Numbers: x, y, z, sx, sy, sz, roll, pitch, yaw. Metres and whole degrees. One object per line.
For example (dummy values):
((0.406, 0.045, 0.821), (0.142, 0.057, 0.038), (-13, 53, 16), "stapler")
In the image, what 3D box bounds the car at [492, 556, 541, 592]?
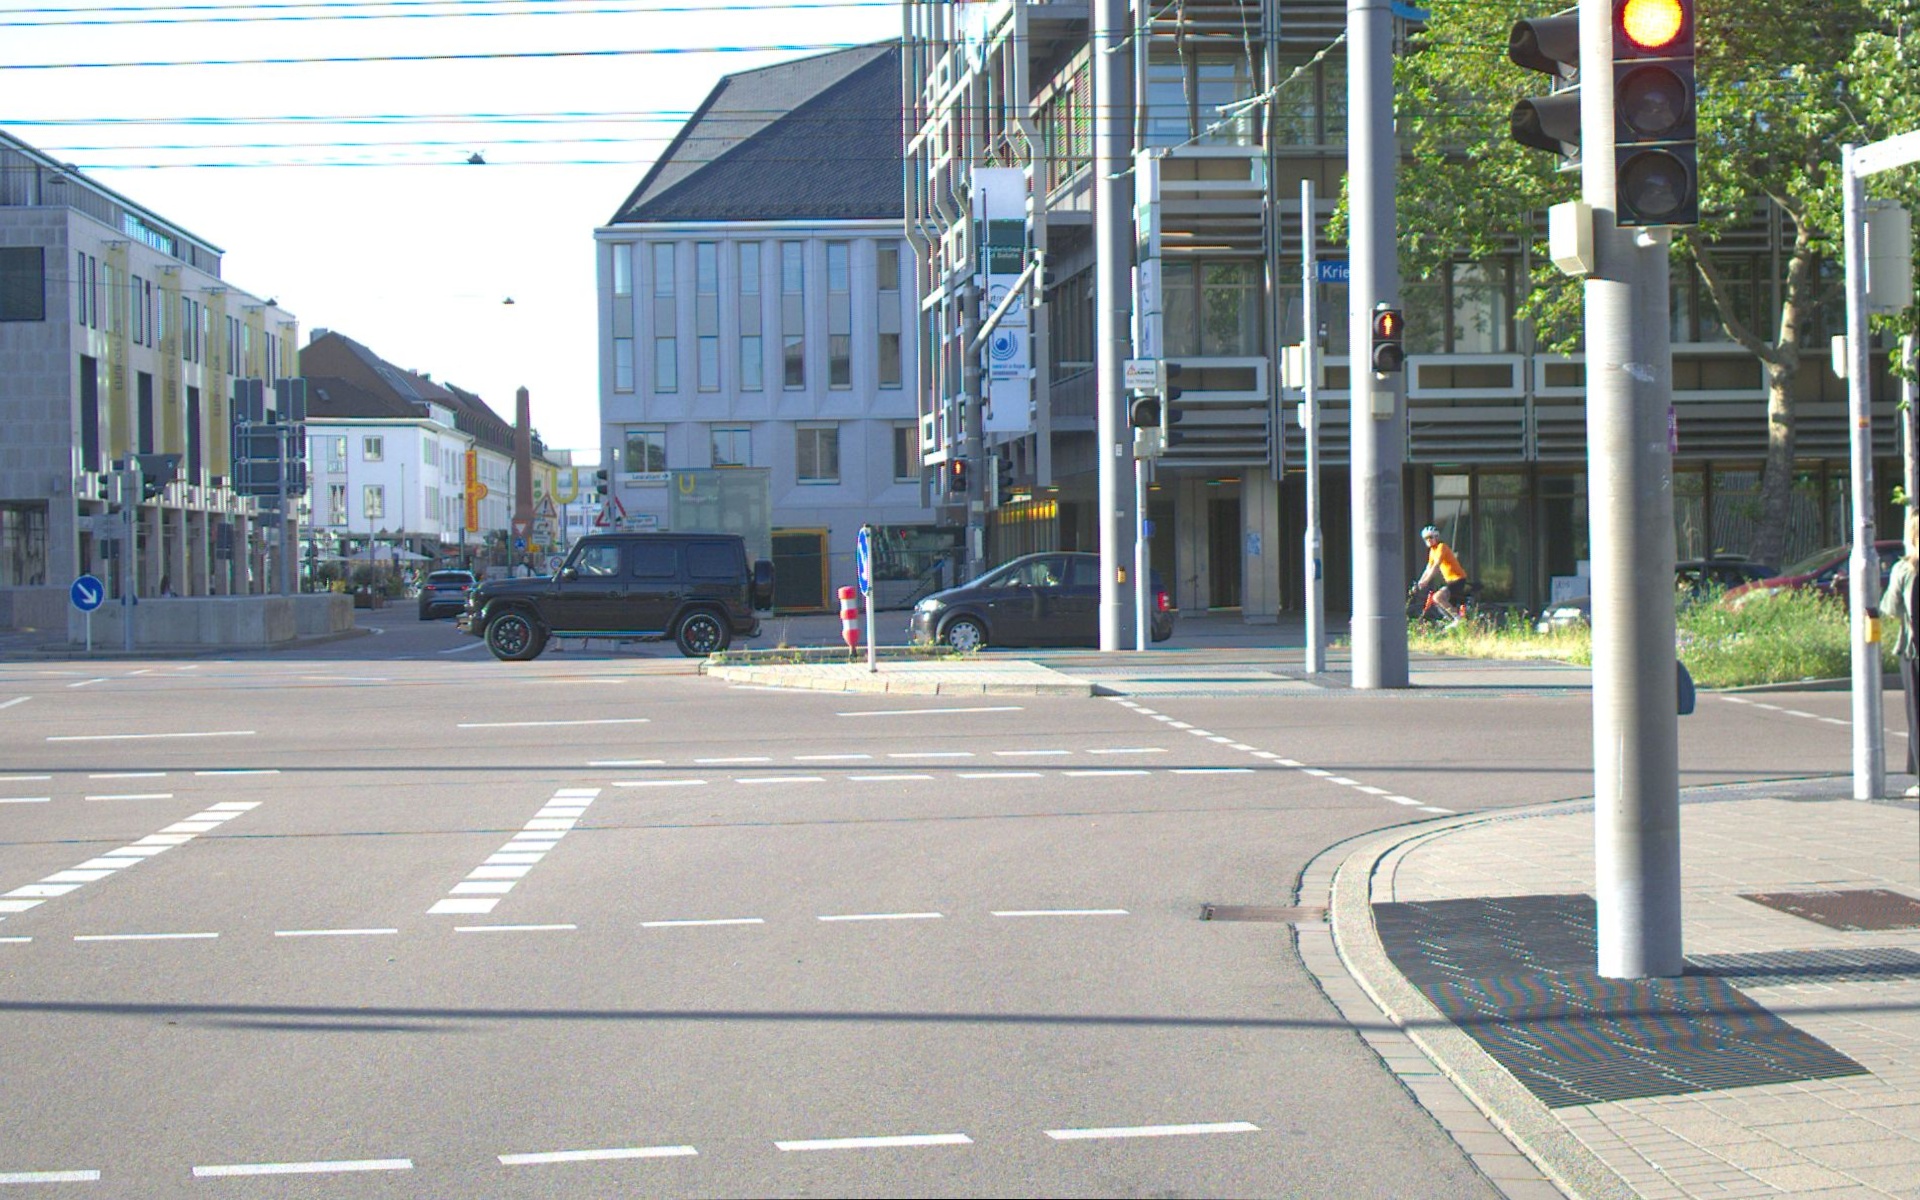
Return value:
((-18.805, -1.124, 145.945), (1.658, 1.453, 3.542), (-1, 1, -1), "car")

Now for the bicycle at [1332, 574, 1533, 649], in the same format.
((6.461, 0.154, 47.119), (2.568, 0.972, 1.047), (-1, 1, -3), "bicycle")

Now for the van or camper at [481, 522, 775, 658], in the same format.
((-5.109, -0.166, 53.151), (4.414, 2.007, 1.995), (-1, 1, -5), "van or camper")

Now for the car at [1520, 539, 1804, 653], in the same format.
((10.920, -0.078, 53.631), (3.986, 1.678, 1.826), (-1, 1, -3), "car")

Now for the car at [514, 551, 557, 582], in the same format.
((-20.531, -1.635, 166.308), (1.658, 1.453, 3.542), (-1, 1, -1), "car")

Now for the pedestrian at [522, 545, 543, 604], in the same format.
((-12.011, -0.718, 96.556), (0.489, 1.658, 0.532), (1, 0, -14), "pedestrian")

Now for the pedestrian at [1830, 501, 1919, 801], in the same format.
((5.305, 0.263, 18.939), (0.765, 1.608, 0.874), (-1, 1, -2), "pedestrian")

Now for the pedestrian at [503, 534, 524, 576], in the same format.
((-21.390, -2.153, 164.687), (0.910, 1.958, 0.823), (1, 0, -1), "pedestrian")

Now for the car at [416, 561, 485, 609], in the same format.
((-16.013, -0.478, 108.081), (1.658, 1.453, 3.542), (-1, 1, -1), "car")

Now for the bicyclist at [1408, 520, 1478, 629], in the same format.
((6.618, -0.355, 47.128), (0.822, 1.469, 0.652), (-1, 1, -4), "bicyclist")

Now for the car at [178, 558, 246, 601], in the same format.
((-26.549, -0.746, 122.052), (1.658, 1.453, 3.542), (-1, 1, -1), "car")

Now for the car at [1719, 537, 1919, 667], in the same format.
((12.650, -0.001, 46.466), (4.287, 1.678, 1.826), (-1, 1, -11), "car")

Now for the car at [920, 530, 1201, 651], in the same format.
((1.427, -0.158, 50.007), (3.986, 1.678, 1.761), (-1, 1, -1), "car")
